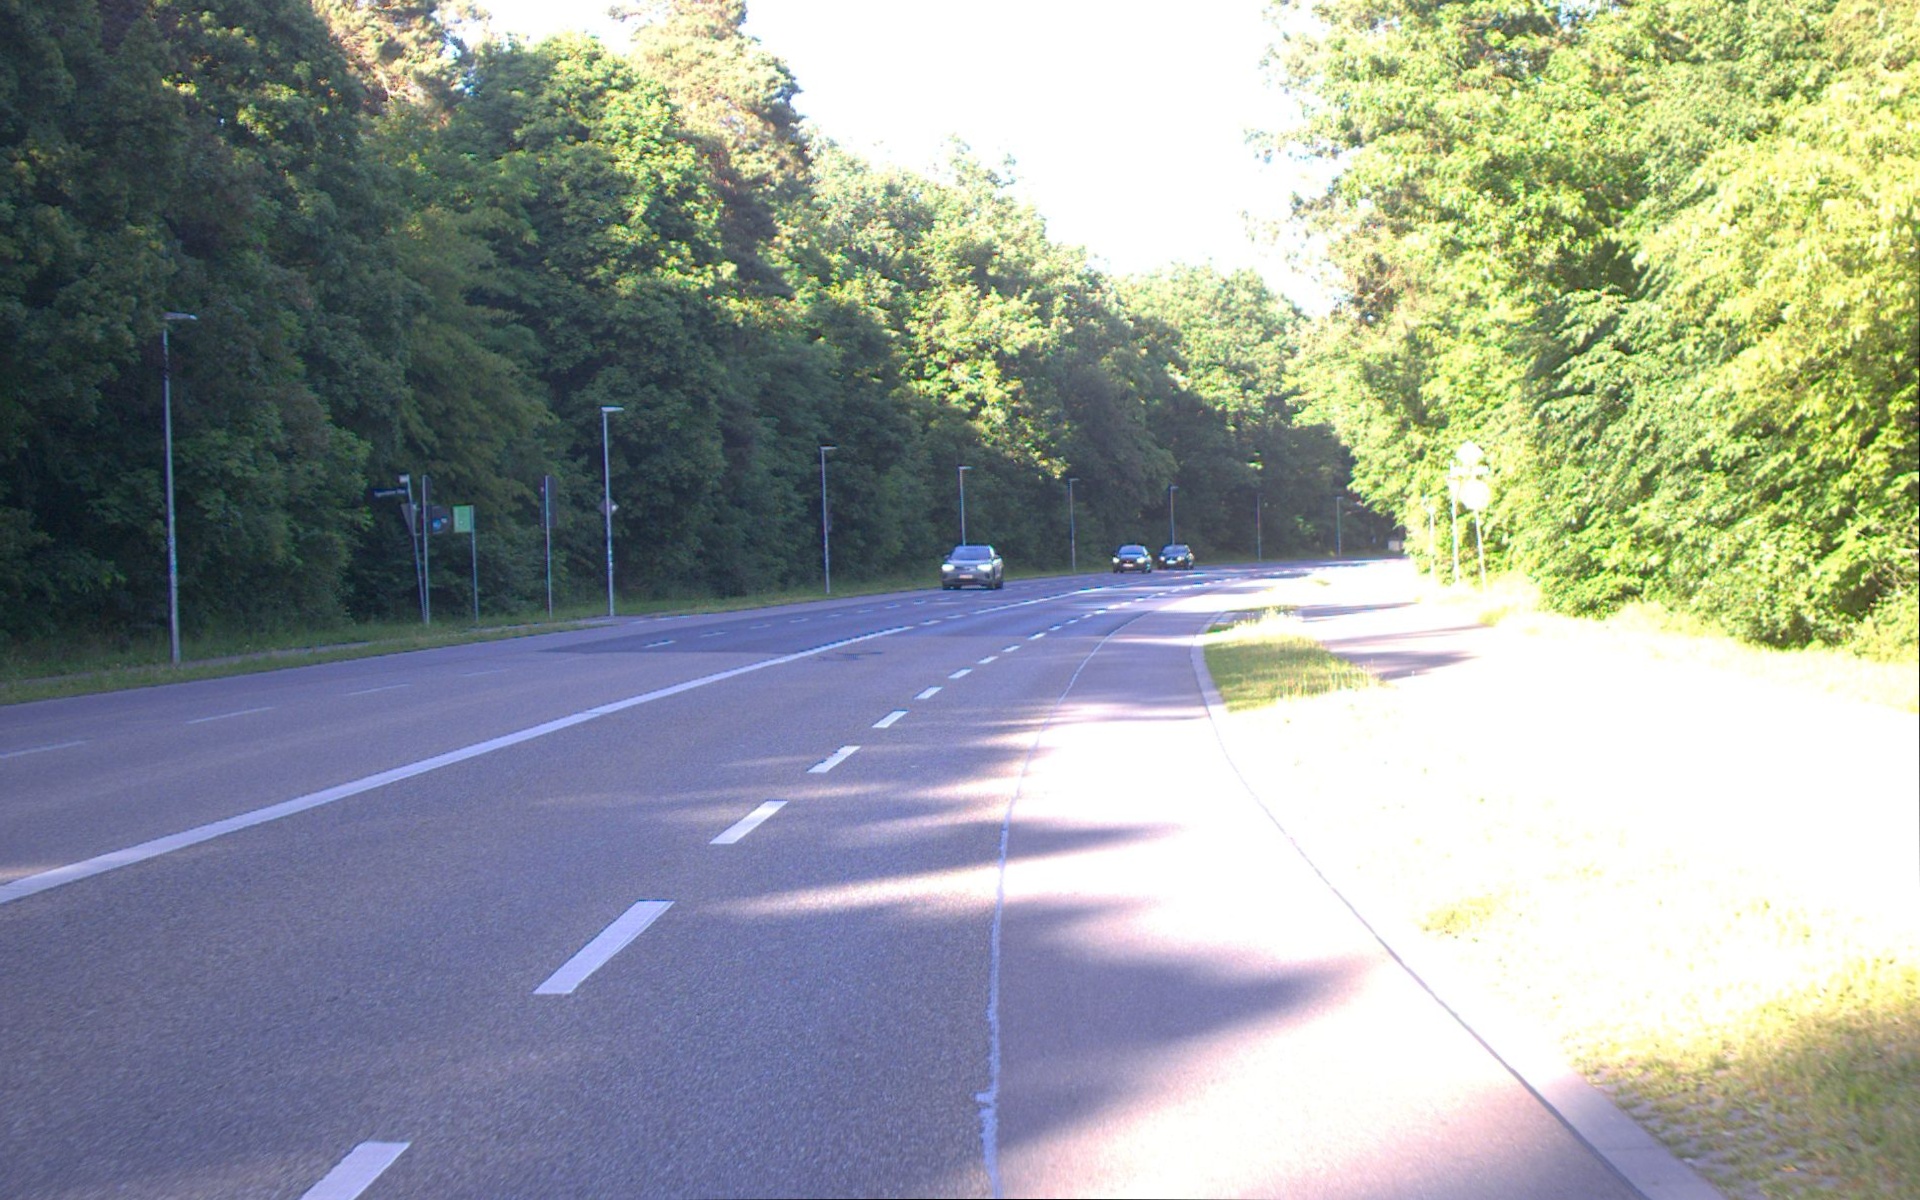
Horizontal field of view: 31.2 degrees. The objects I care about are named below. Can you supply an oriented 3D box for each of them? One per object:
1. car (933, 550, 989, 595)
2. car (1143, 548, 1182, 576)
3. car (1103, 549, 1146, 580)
[{"bbox_3d":[0.044,-1.002,125.206,1.993,1.579,4.000,0,0,0],"label":"car"},{"bbox_3d":[11.911,-2.247,201.885,1.994,1.579,3.999,0,0,8],"label":"car"},{"bbox_3d":[8.696,-1.879,181.433,1.994,1.579,3.999,0,0,6],"label":"car"}]
